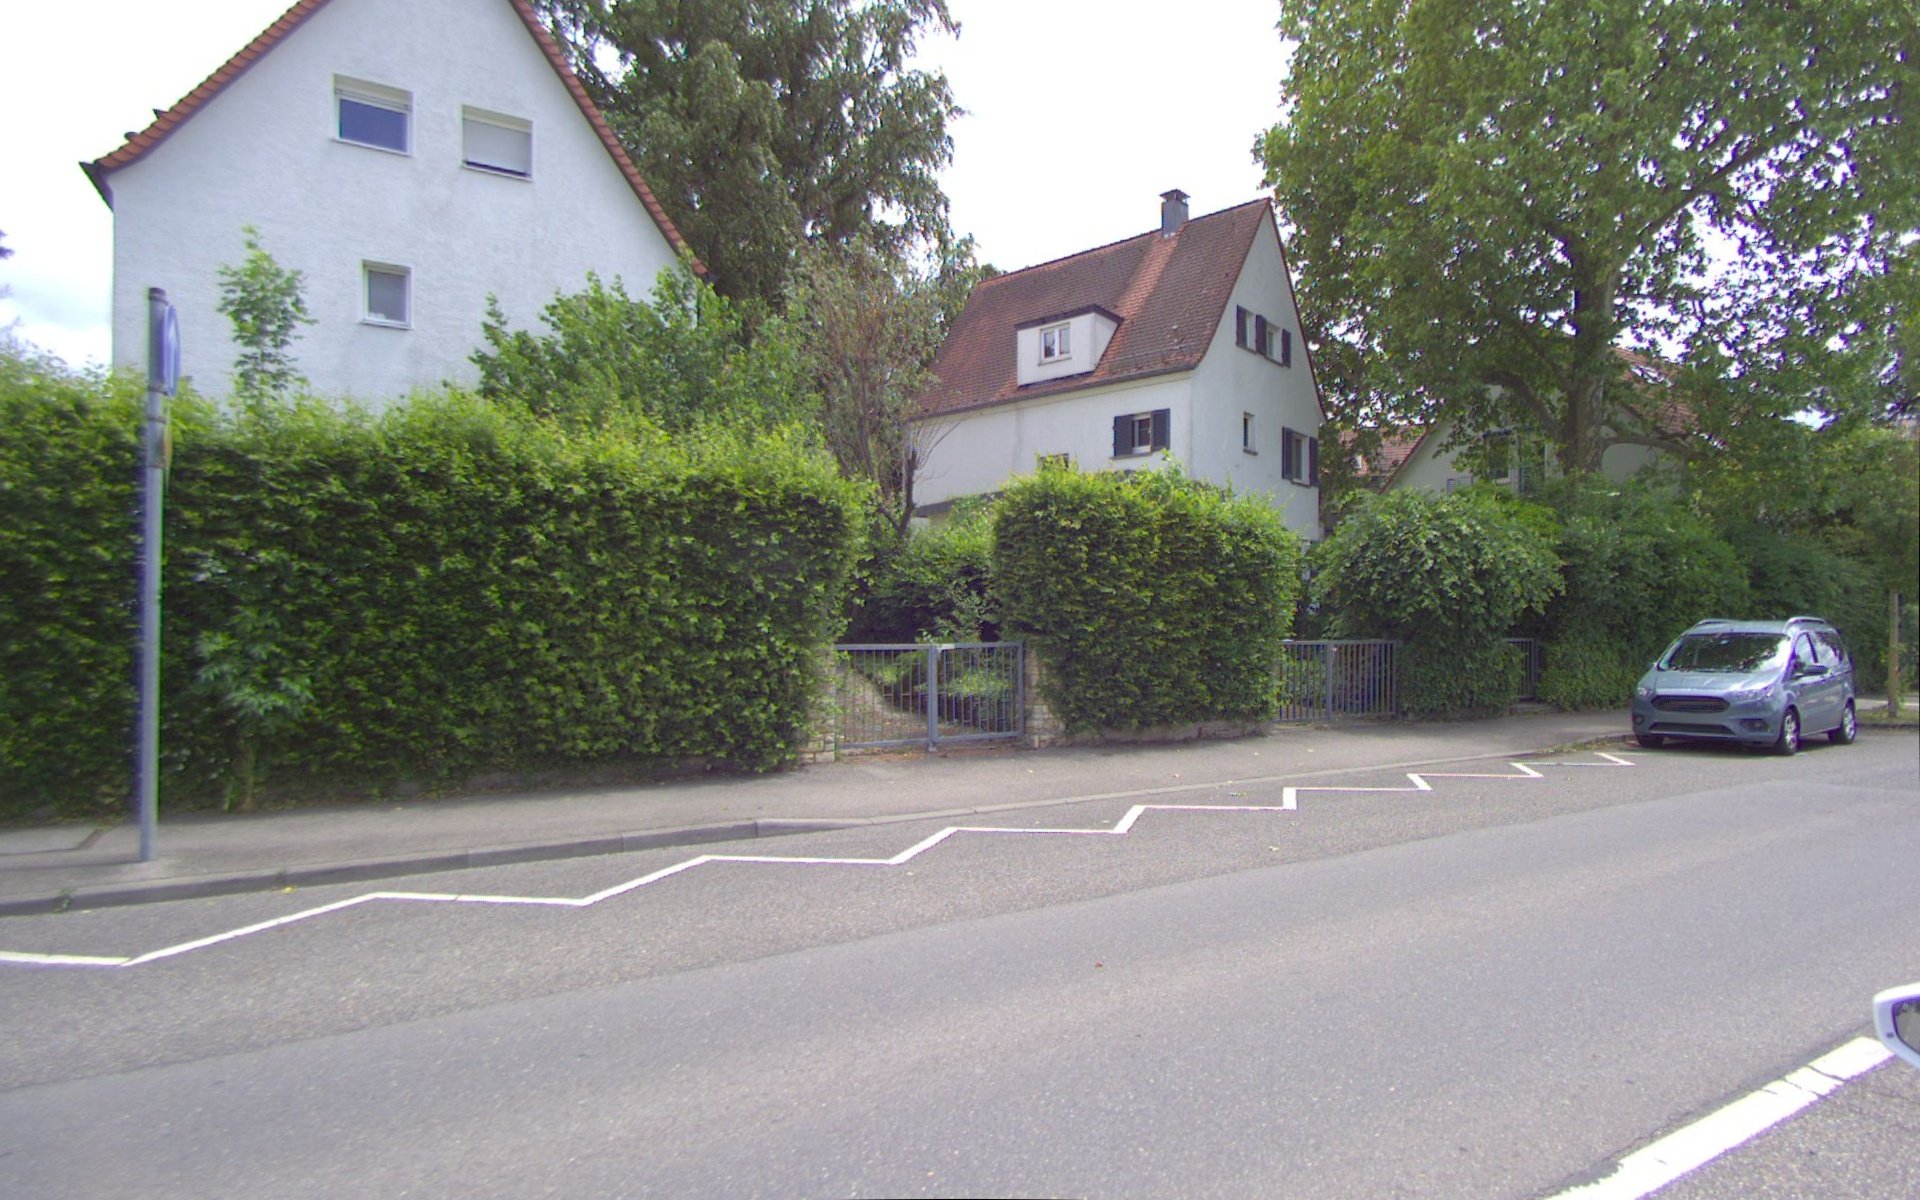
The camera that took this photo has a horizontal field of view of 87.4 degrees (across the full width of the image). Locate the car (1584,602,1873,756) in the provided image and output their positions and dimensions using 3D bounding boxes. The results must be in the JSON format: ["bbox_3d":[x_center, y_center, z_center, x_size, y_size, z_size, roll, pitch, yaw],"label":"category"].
[{"bbox_3d":[10.833,0.949,14.064,4.423,1.796,2.116,0,1,-37],"label":"car"}]

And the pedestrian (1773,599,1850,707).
[{"bbox_3d":[16.724,1.033,19.730,1.030,2.040,0.867,1,-2,-34],"label":"pedestrian"}]
